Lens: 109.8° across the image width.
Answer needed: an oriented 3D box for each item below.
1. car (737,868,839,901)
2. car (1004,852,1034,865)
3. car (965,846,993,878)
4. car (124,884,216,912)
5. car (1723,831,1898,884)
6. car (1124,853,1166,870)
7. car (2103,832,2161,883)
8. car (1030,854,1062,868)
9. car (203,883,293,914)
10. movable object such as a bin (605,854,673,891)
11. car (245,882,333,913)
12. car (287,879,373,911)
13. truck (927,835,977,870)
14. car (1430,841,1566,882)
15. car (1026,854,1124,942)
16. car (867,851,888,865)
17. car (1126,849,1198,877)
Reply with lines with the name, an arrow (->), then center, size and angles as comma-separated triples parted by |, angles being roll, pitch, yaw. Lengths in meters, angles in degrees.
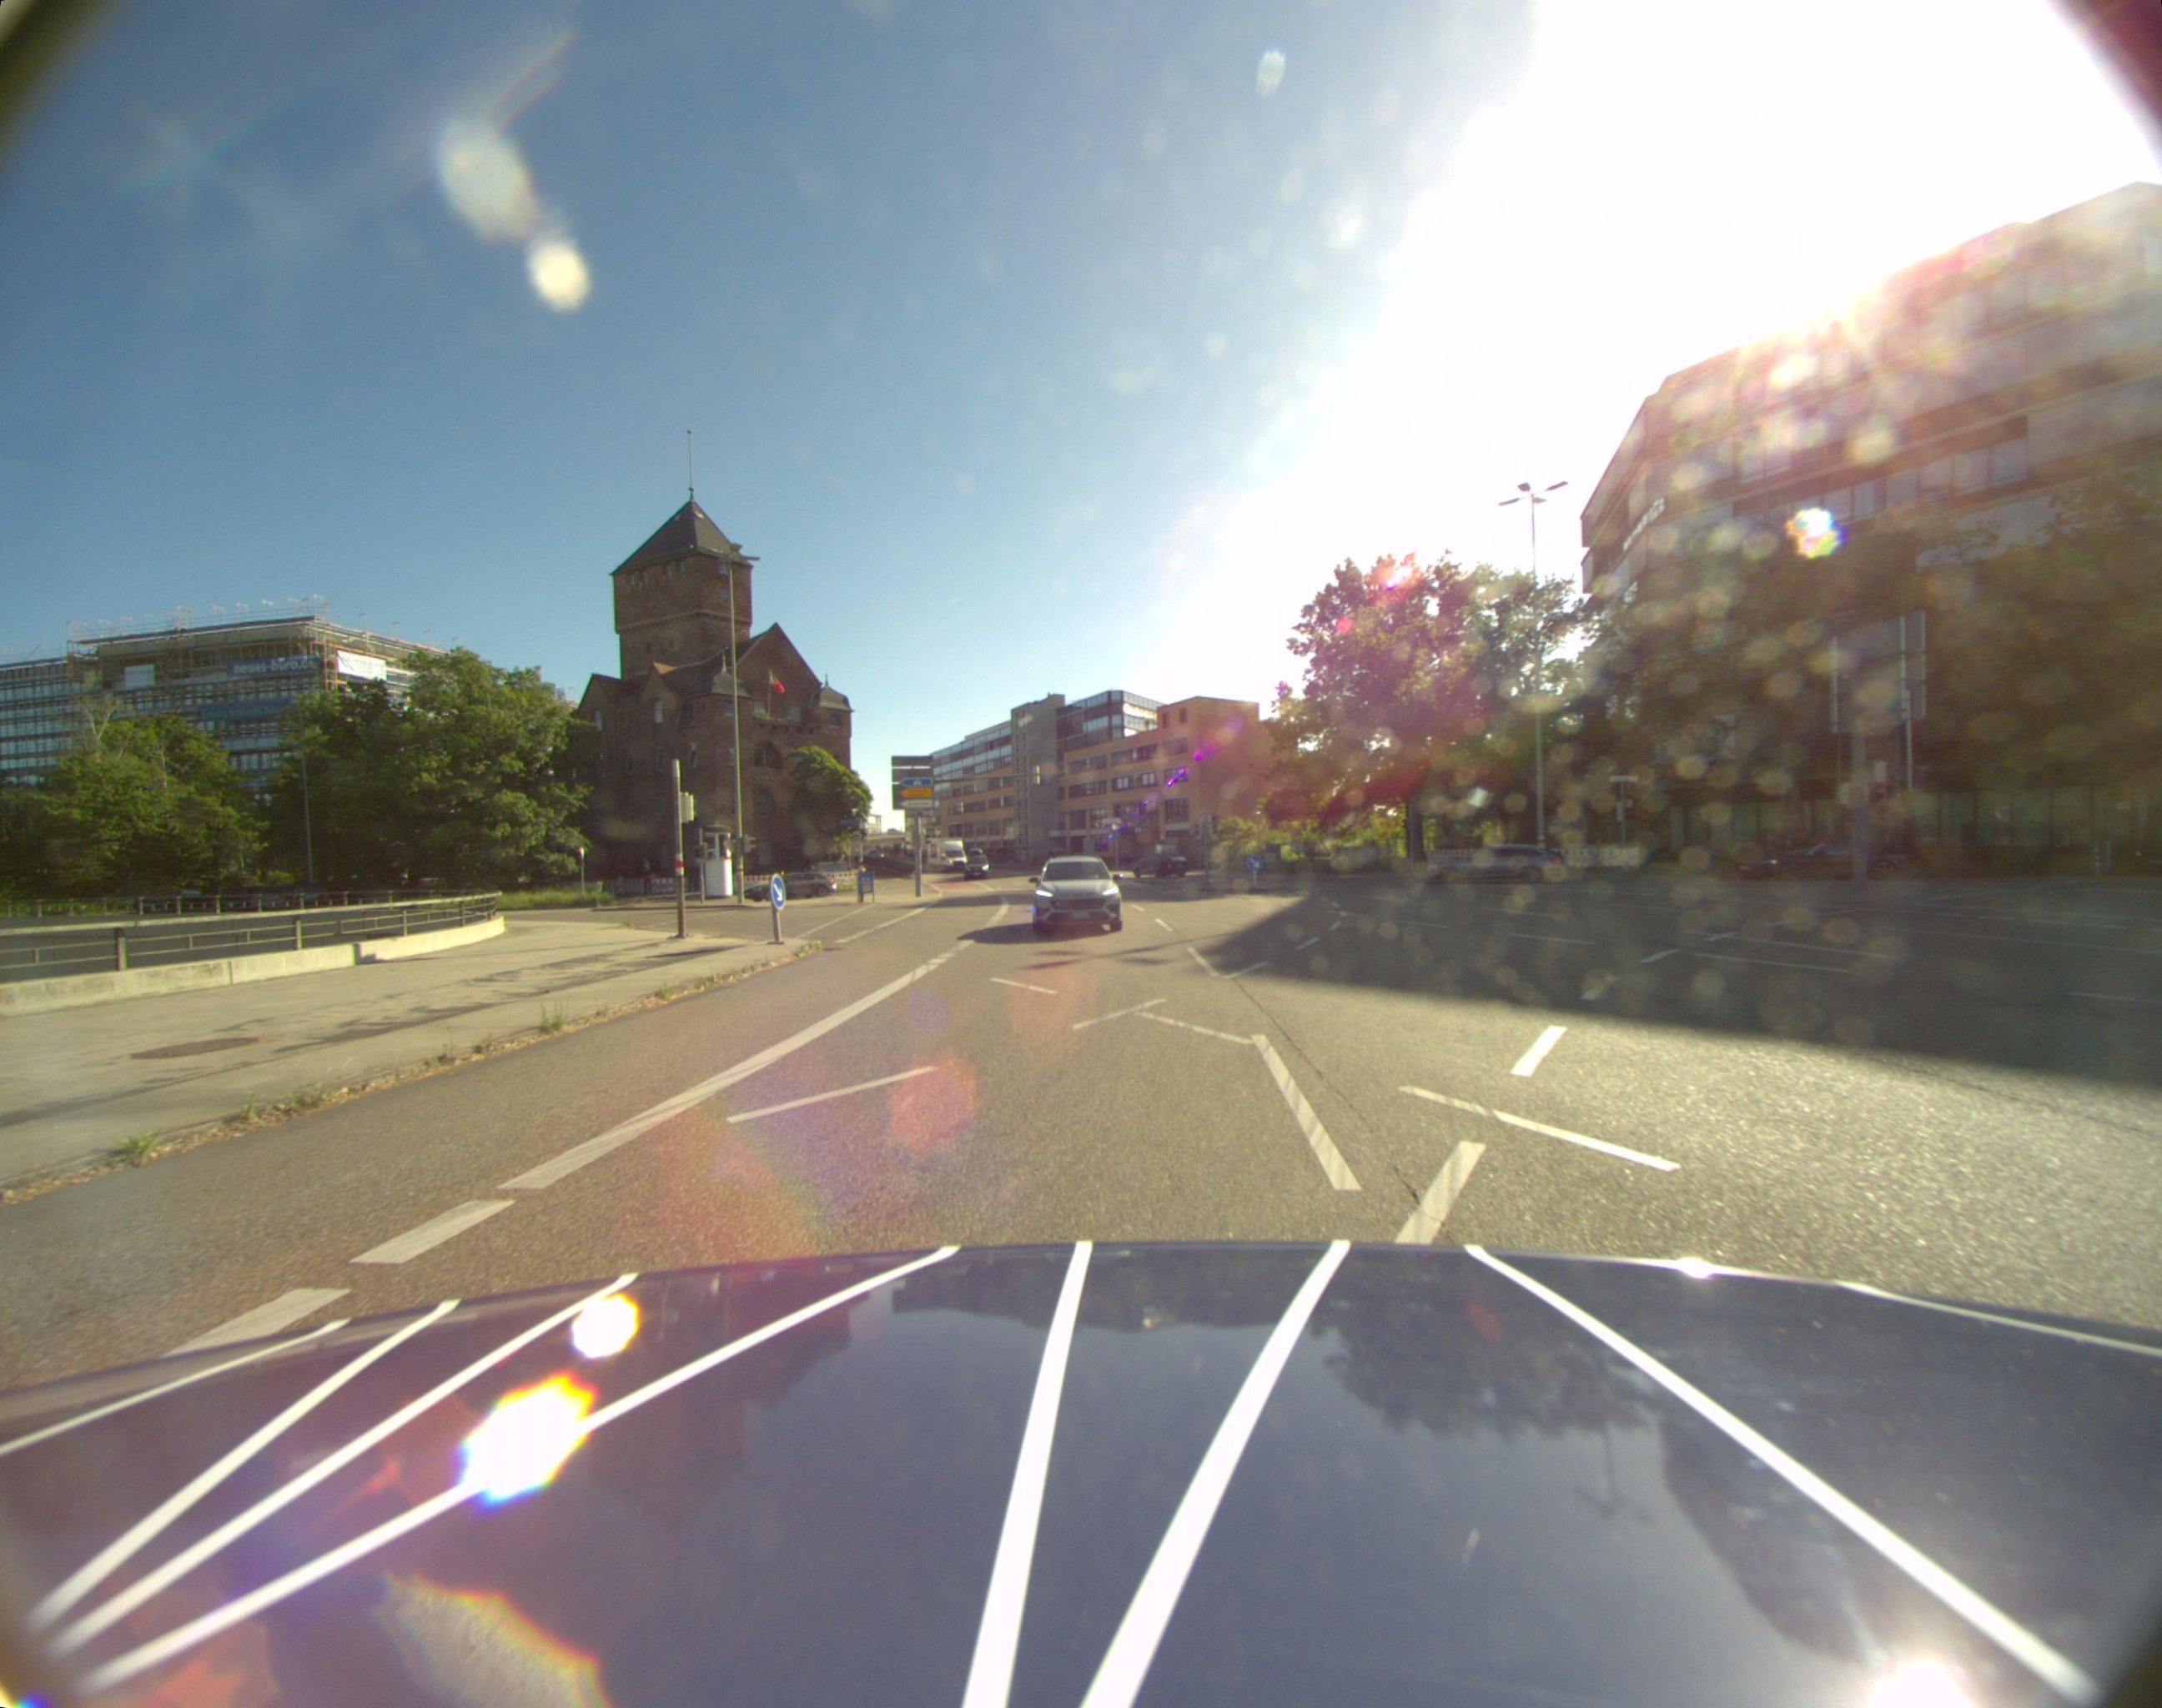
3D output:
car -> -15.663, 1.631, 40.762 | 4.644, 1.462, 1.875 | -2, -1, -45
car -> -7.632, 0.555, 92.971 | 1.883, 1.515, 4.151 | -2, 1, -32
car -> -7.701, 0.562, 57.072 | 1.951, 2.248, 4.781 | -2, 0, -9
car -> -56.403, 2.687, 47.153 | 2.002, 1.445, 3.775 | -2, 0, -20
car -> 25.641, 0.111, 26.838 | 4.191, 1.690, 1.816 | -2, 1, 6
car -> 5.712, 0.707, 68.286 | 1.662, 1.500, 4.370 | 0, -1, -27
car -> 37.760, 0.046, 25.249 | 4.502, 1.635, 1.881 | -2, 1, 9
car -> -3.993, 0.802, 86.023 | 1.641, 1.515, 4.150 | -2, 1, -34
car -> -48.911, 2.558, 44.726 | 2.002, 1.552, 3.775 | -2, 0, -20
movable object such as a bin -> -30.476, 1.291, 52.401 | 3.990, 2.395, 2.003 | -2, 1, 25
car -> -45.235, 2.453, 43.531 | 2.002, 1.552, 3.775 | -2, 0, -20
car -> -42.263, 2.295, 42.874 | 2.002, 1.552, 3.775 | -2, 0, -20
truck -> -12.165, -0.133, 71.209 | 2.508, 3.110, 6.944 | -2, 1, -27
car -> 16.296, 0.345, 29.795 | 4.498, 1.349, 1.885 | -3, -4, 30
car -> -0.002, 0.863, 16.943 | 1.878, 1.612, 4.197 | -1, 1, 3
car -> -26.635, 0.490, 99.139 | 1.760, 1.749, 4.775 | -2, 1, -25
car -> 5.064, 0.577, 48.140 | 1.954, 1.612, 4.774 | -2, 1, -31
